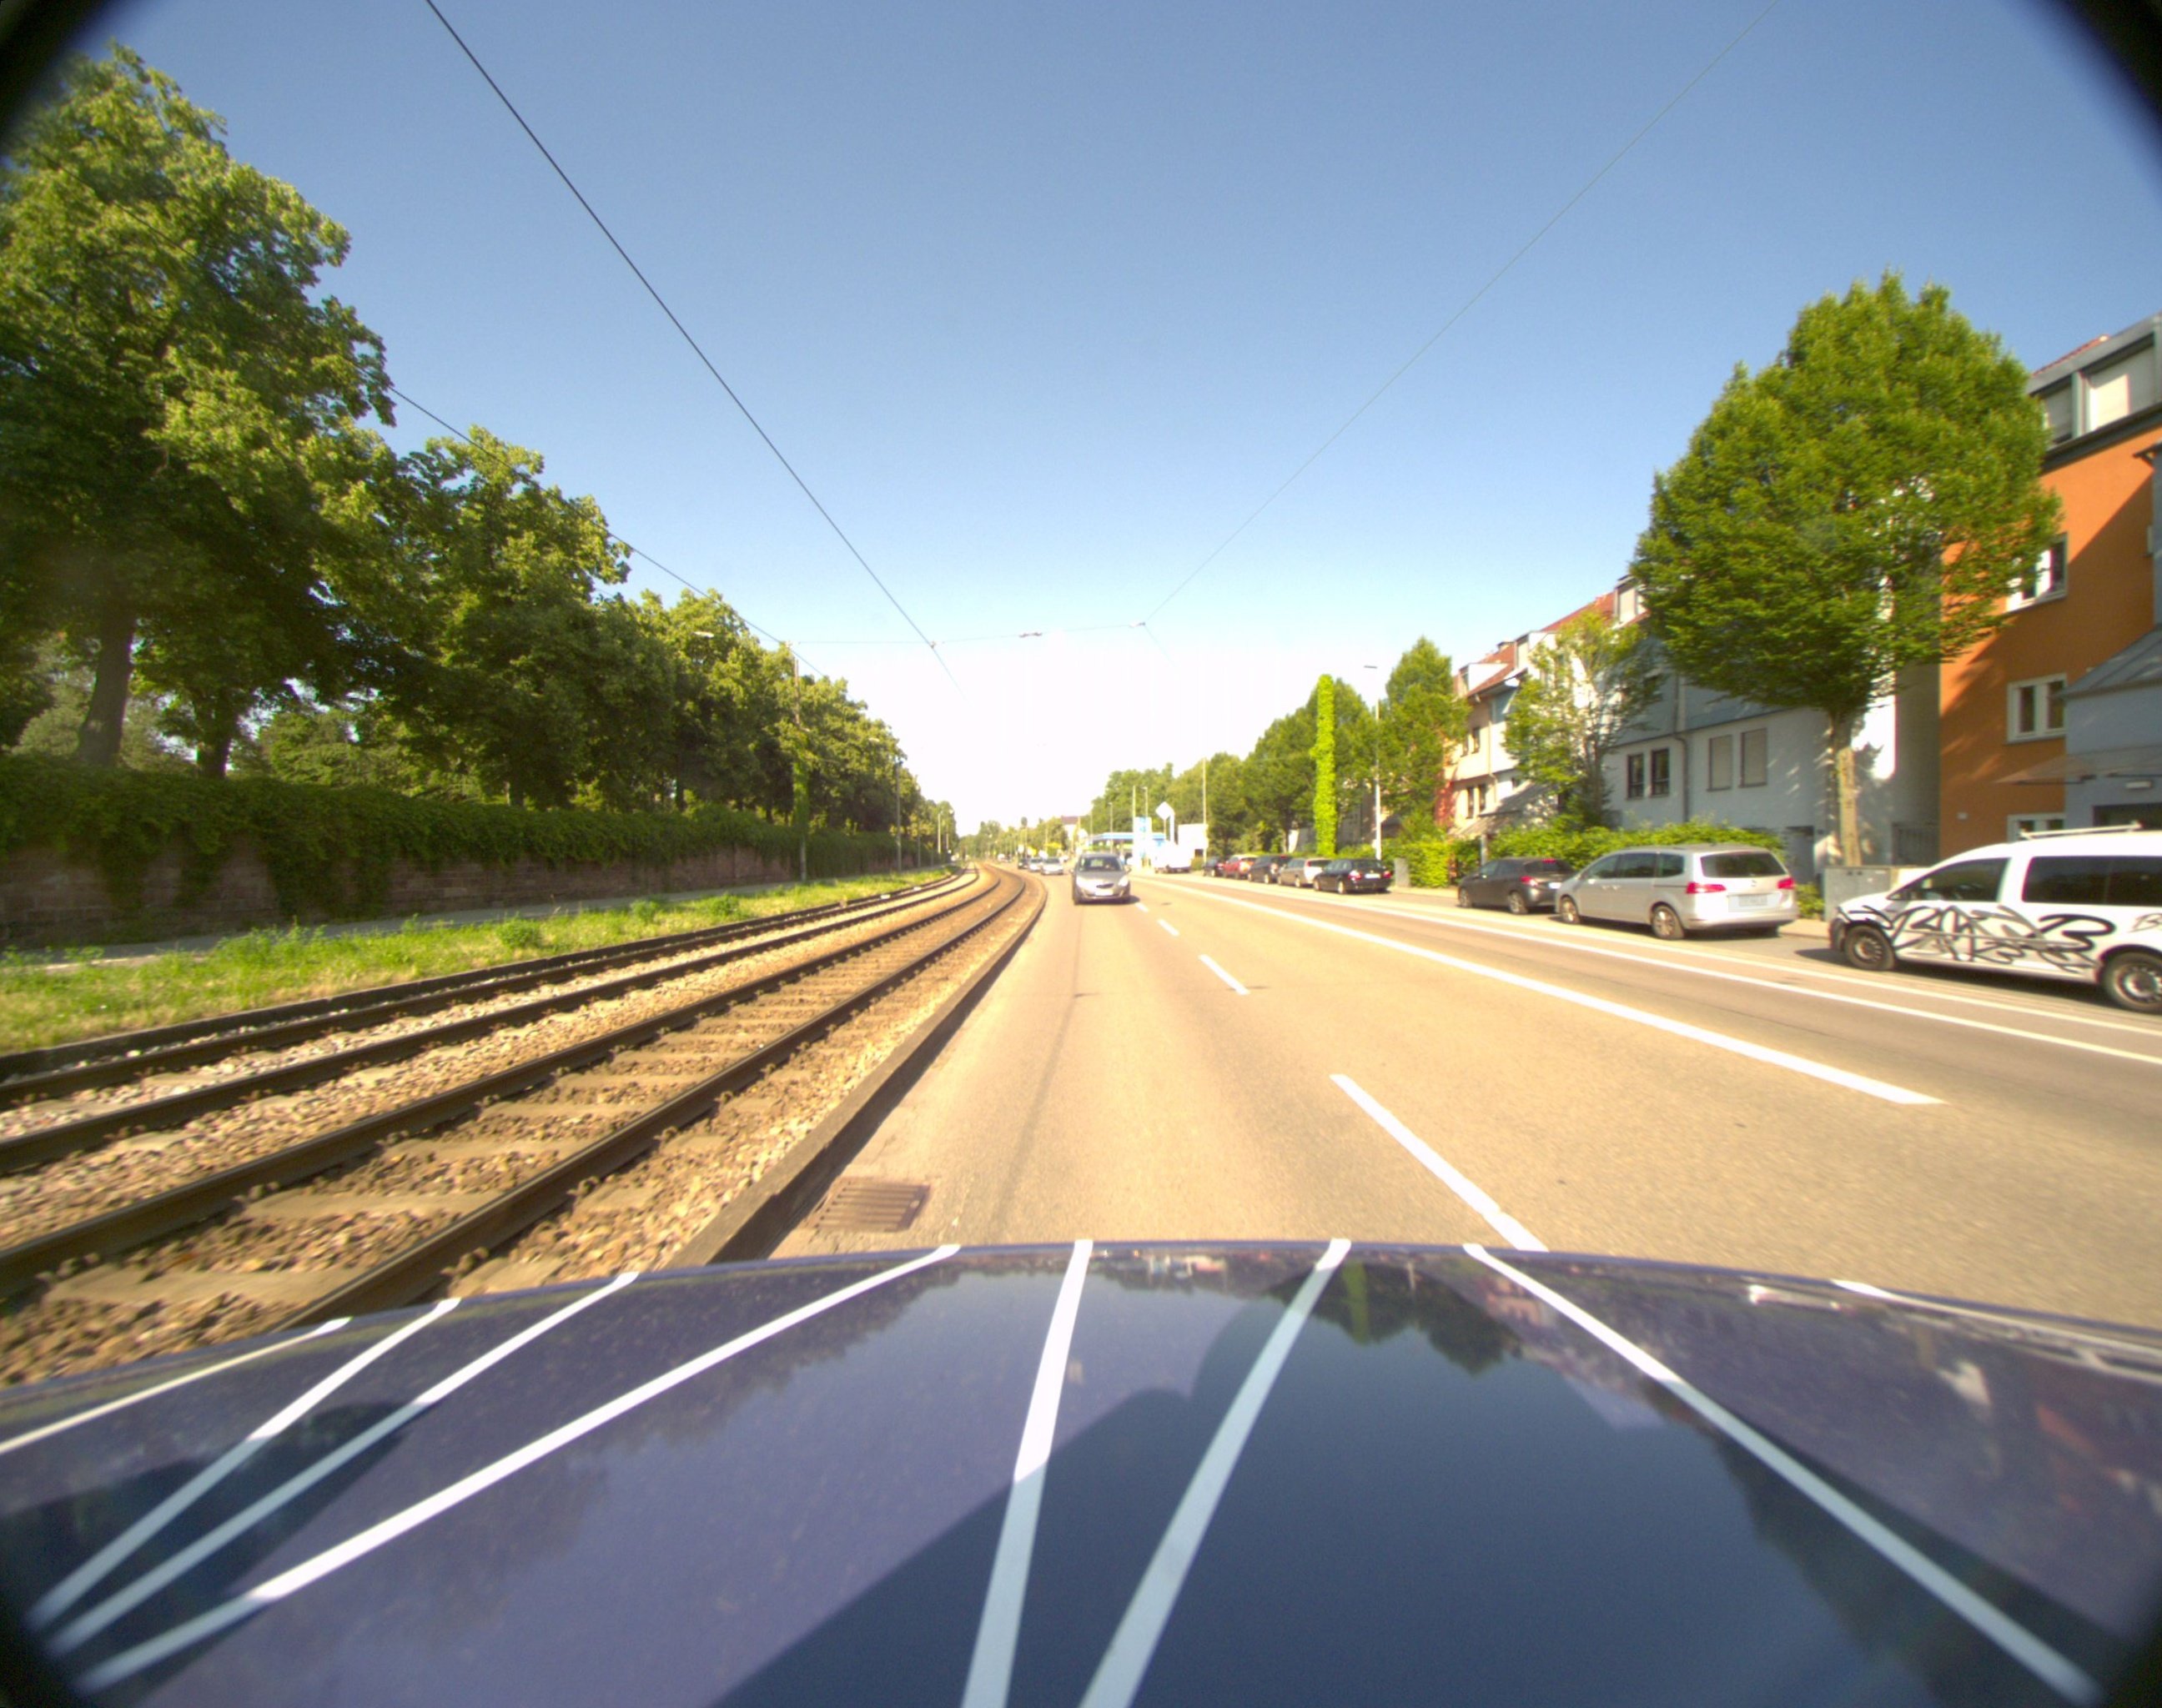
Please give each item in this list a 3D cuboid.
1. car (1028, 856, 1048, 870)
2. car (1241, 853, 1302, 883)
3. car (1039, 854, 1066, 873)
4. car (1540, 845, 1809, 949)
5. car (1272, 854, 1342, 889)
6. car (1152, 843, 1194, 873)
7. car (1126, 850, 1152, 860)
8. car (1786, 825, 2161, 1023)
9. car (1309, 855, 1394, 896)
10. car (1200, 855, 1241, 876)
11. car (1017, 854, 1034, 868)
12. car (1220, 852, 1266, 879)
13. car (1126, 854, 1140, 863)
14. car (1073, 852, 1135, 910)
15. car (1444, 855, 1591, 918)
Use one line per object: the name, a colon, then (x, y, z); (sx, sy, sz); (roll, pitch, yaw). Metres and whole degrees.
car: (-4.353, 0.856, 76.812); (1.579, 1.306, 3.997); (-2, 0, -9)
car: (10.775, 0.730, 43.290); (1.768, 1.565, 4.433); (-2, 1, -8)
car: (-2.442, 0.766, 64.396); (1.711, 1.487, 3.997); (-2, 0, -9)
car: (11.456, 0.712, 15.210); (1.672, 1.691, 4.824); (-2, 0, 2)
car: (11.178, 0.810, 37.940); (1.717, 1.463, 4.842); (-3, 1, -4)
car: (8.307, 0.356, 69.346); (2.159, 2.443, 6.179); (-3, 0, -8)
car: (12.016, 0.215, 157.022); (5.085, 1.929, 1.856); (0, 0, -3)
car: (11.459, 0.666, 9.035); (1.767, 1.835, 4.580); (-5, 0, 0)
car: (11.258, 0.849, 32.018); (1.714, 1.463, 4.909); (-3, 0, -1)
car: (9.941, 0.792, 54.482); (1.657, 1.416, 4.710); (-1, 0, -5)
car: (-7.040, 0.874, 96.326); (1.711, 1.581, 3.996); (-2, 0, -11)
car: (10.438, 0.718, 49.167); (1.768, 1.565, 4.159); (-1, 1, -5)
car: (9.496, 0.808, 139.630); (1.742, 1.482, 4.272); (0, 0, -7)
car: (0.651, 0.764, 23.308); (1.730, 1.574, 3.763); (-1, 1, 0)
car: (11.703, 0.802, 20.710); (1.620, 1.457, 4.057); (-2, 0, 0)
